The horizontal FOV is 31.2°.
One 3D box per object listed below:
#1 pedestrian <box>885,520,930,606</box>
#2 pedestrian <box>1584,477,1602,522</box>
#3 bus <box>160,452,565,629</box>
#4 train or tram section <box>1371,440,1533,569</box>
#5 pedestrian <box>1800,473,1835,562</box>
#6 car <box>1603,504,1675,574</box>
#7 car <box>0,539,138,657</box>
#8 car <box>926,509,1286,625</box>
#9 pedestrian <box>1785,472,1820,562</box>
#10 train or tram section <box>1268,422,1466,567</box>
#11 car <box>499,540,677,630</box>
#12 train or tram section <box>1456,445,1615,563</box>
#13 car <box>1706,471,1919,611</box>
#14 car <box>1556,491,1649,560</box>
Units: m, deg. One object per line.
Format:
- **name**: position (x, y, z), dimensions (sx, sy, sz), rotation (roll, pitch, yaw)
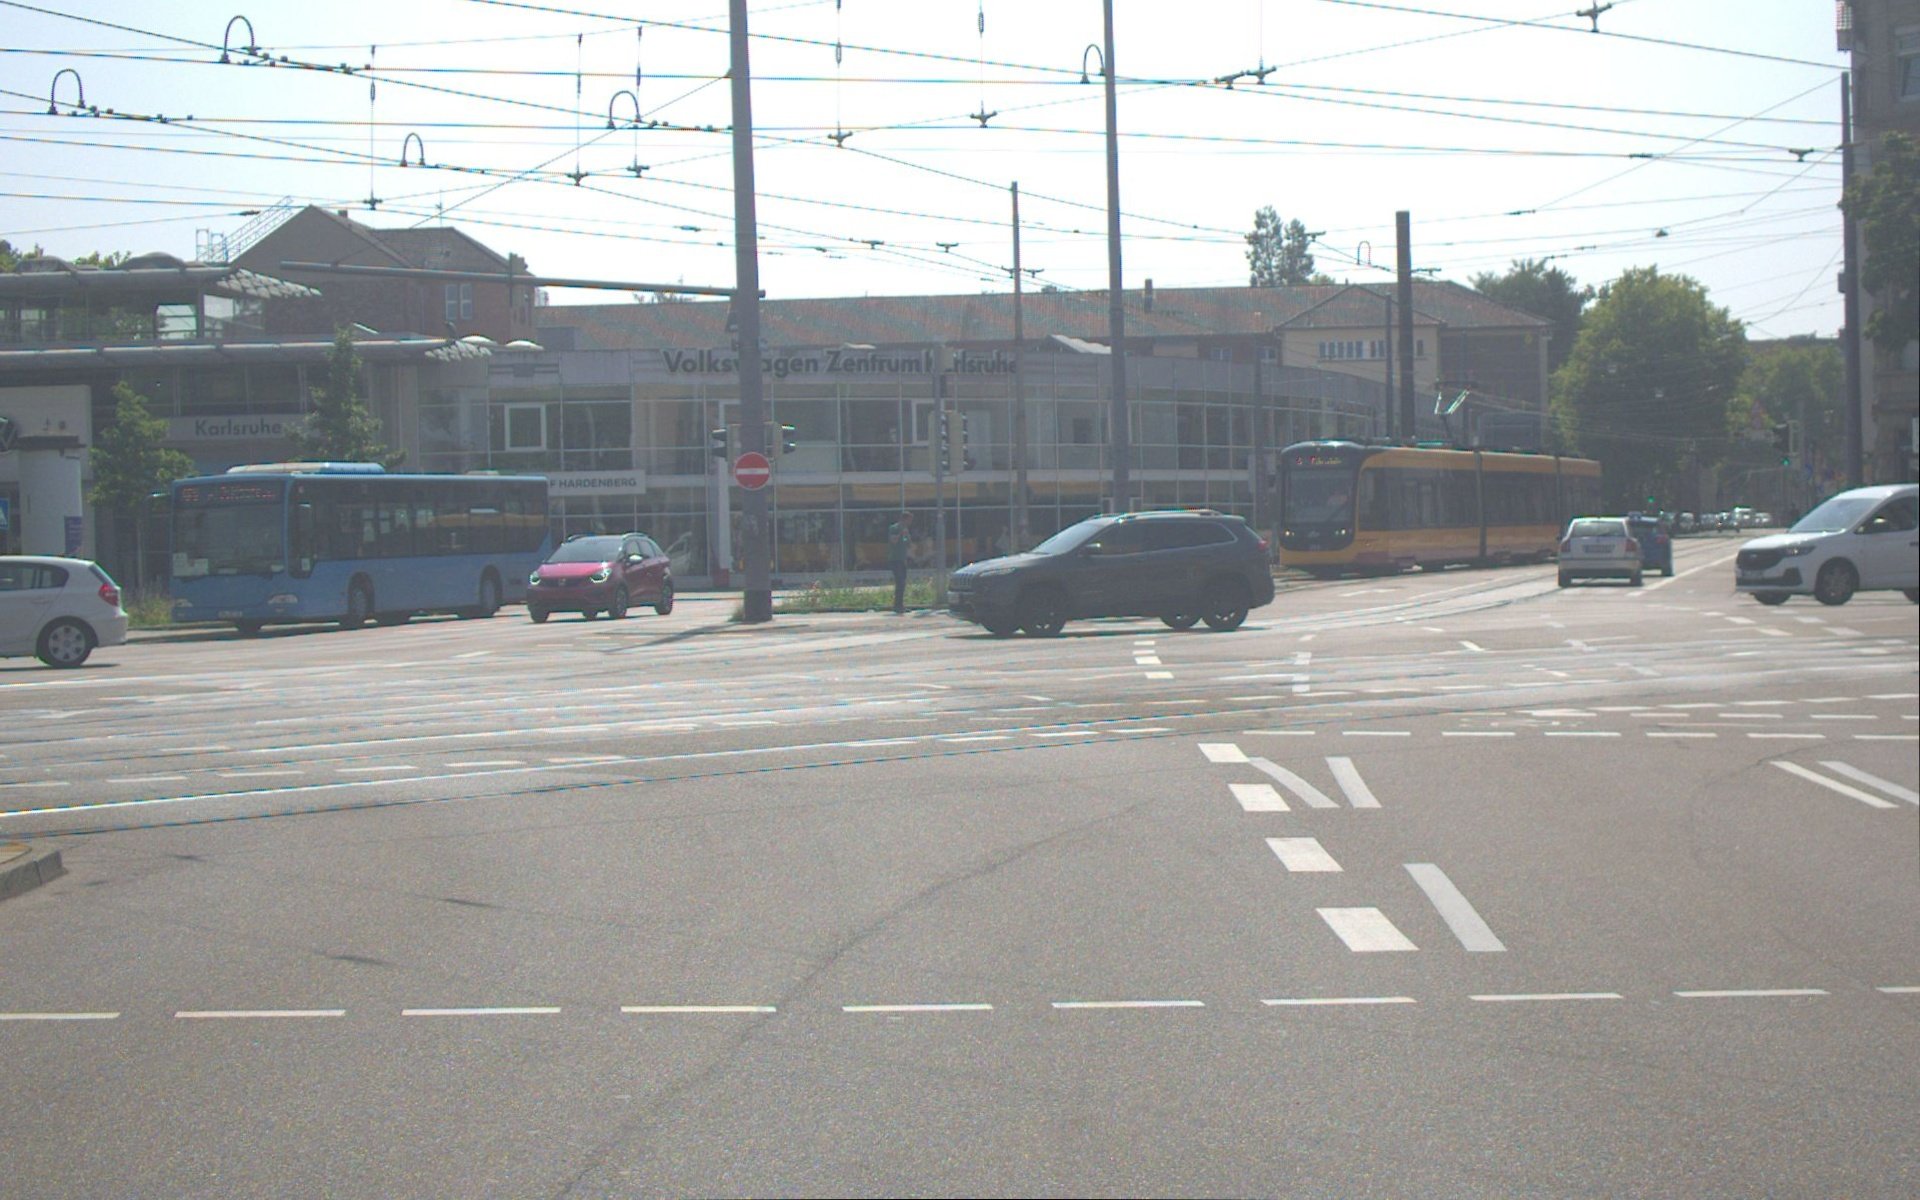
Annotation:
- **pedestrian**: position (-0.901, -0.636, 58.770), dimensions (0.676, 1.438, 0.366), rotation (-1, 1, -17)
- **pedestrian**: position (28.926, -4.586, 157.146), dimensions (0.729, 2.007, 0.669), rotation (-1, 1, 17)
- **bus**: position (-11.250, -1.182, 66.611), dimensions (2.564, 3.072, 12.014), rotation (-1, 1, 17)
- **train or tram section**: position (14.304, -2.731, 99.321), dimensions (2.591, 3.504, 9.649), rotation (-1, 1, 20)
- **pedestrian**: position (29.294, -2.804, 117.478), dimensions (0.983, 3.007, 0.974), rotation (-1, 1, 6)
- **car**: position (16.438, -1.479, 83.138), dimensions (1.637, 1.612, 3.998), rotation (-1, 1, 12)
- **car**: position (-12.502, -0.012, 42.899), dimensions (4.187, 1.411, 1.776), rotation (-2, 1, -19)
- **car**: position (2.038, -0.483, 48.134), dimensions (4.609, 1.499, 2.001), rotation (-1, 1, -20)
- **pedestrian**: position (28.494, -2.797, 116.291), dimensions (0.983, 3.007, 0.974), rotation (-1, 1, 6)
- **train or tram section**: position (10.770, -2.715, 89.828), dimensions (2.591, 3.504, 10.888), rotation (-1, 1, 20)
- **car**: position (-6.819, -0.297, 63.347), dimensions (1.751, 1.546, 3.997), rotation (-1, 1, 18)
- **train or tram section**: position (18.526, -3.036, 109.899), dimensions (2.591, 3.504, 12.959), rotation (-1, 1, 20)
- **car**: position (13.796, -0.916, 51.799), dimensions (4.609, 2.007, 2.001), rotation (-1, 1, -20)
- **car**: position (13.740, -1.605, 73.643), dimensions (1.770, 1.411, 4.188), rotation (-1, 1, 8)
